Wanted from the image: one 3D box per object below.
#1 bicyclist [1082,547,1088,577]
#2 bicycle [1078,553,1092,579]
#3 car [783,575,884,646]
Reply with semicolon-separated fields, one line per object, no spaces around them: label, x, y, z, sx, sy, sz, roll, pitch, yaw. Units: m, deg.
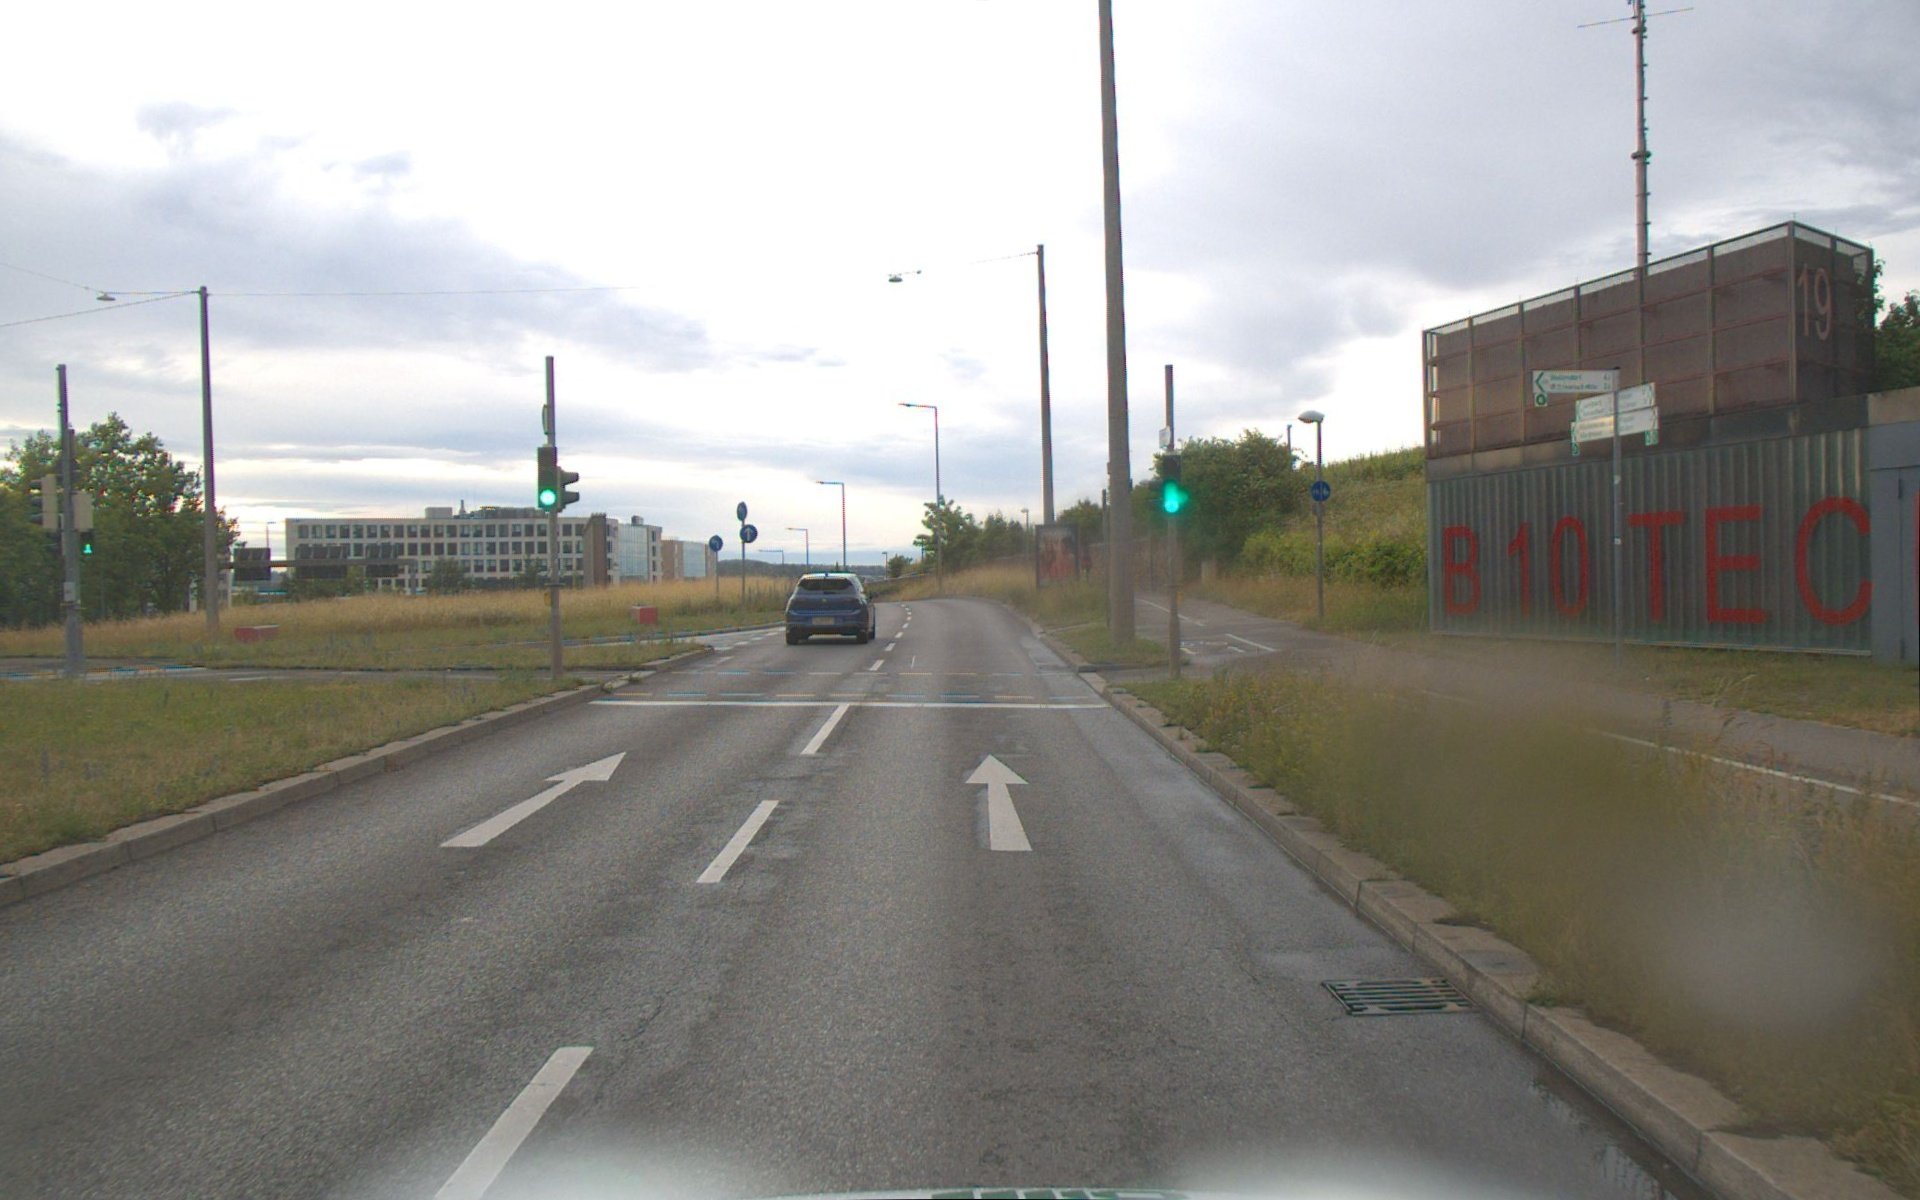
bicyclist;5.176;-1.573;68.489;0.260;1.216;0.315;0;1;1
bicycle;5.180;-1.401;68.504;0.539;1.087;0.615;0;1;1
car;-2.675;0.196;35.784;1.800;1.418;4.000;1;0;1
